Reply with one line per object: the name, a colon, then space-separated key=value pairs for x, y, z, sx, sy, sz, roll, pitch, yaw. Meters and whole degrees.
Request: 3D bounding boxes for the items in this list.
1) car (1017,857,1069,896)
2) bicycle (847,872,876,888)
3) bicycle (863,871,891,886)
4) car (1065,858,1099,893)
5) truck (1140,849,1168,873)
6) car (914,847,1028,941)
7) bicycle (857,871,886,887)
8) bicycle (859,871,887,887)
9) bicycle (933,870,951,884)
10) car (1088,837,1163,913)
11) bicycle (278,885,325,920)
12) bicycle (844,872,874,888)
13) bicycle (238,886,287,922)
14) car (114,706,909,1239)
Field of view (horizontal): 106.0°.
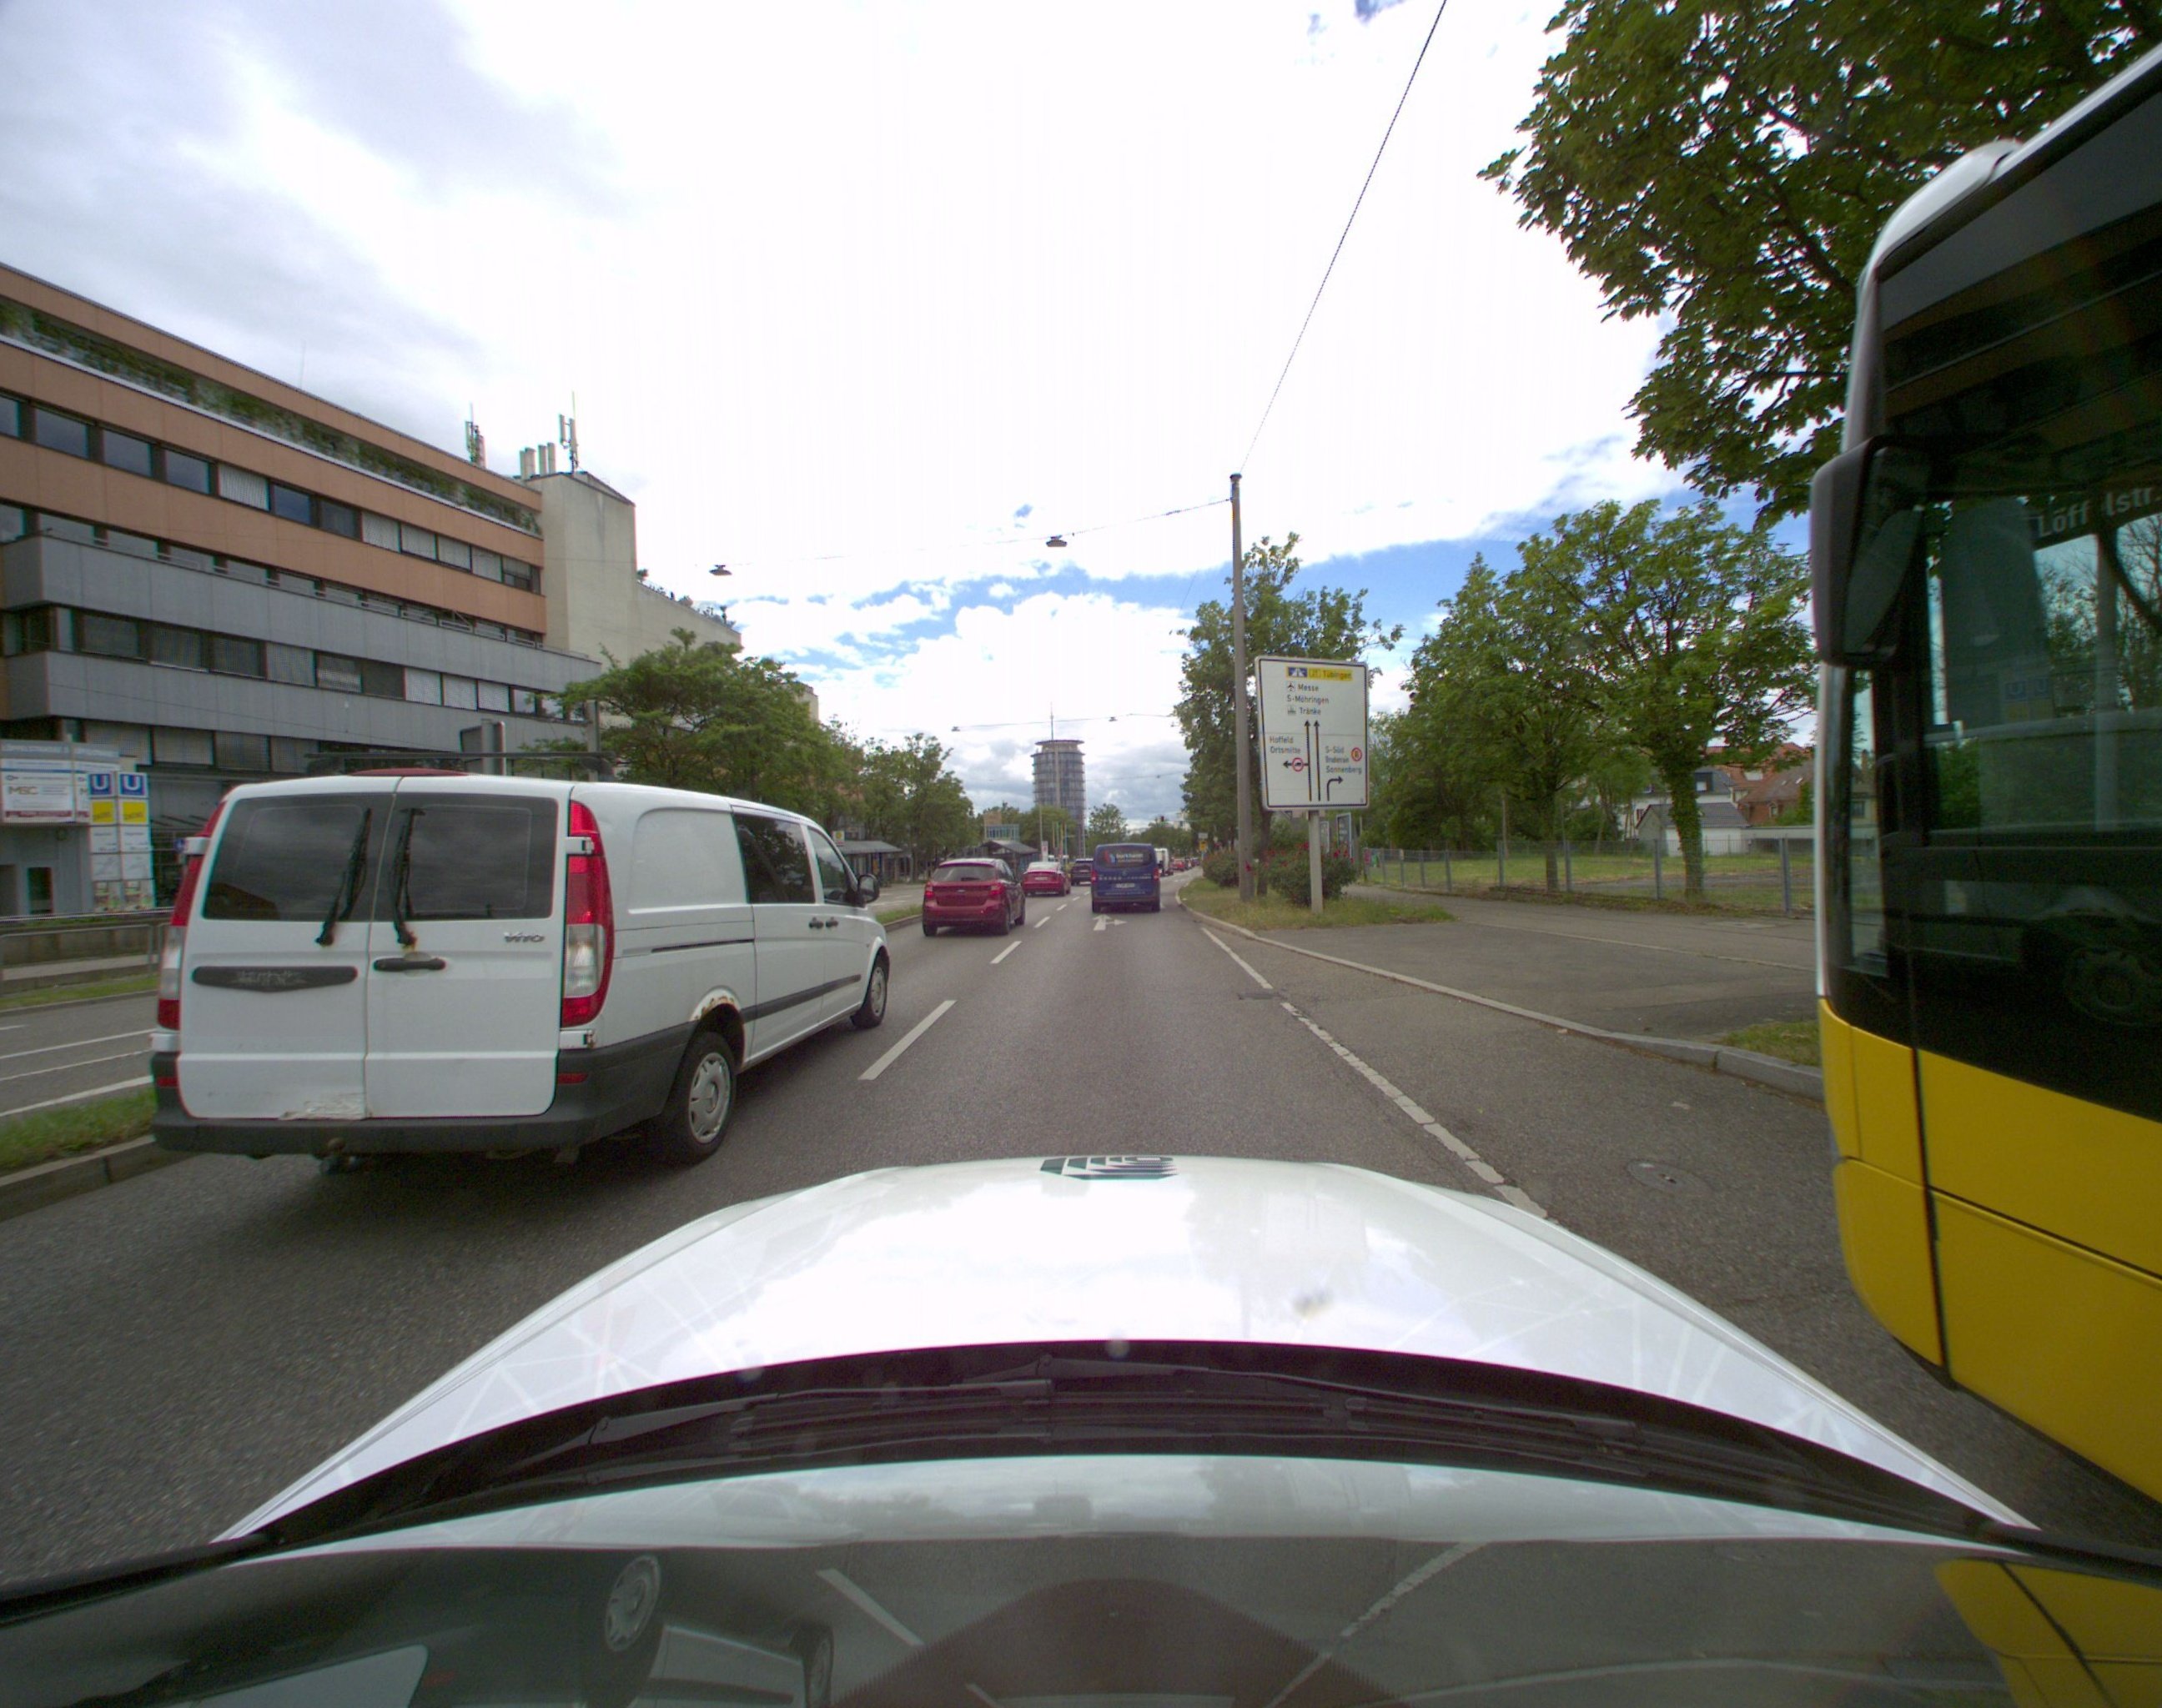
car: x=-1.551 y=0.965 z=34.787 sx=1.862 sy=1.486 sz=4.001 roll=-2 pitch=-2 yaw=1
bicycle: x=-16.683 y=1.984 z=61.948 sx=2.062 sy=1.153 sz=0.710 roll=0 pitch=-1 yaw=-6
bicycle: x=-16.379 y=1.950 z=65.305 sx=2.062 sy=1.153 sz=0.710 roll=2 pitch=-1 yaw=-6
car: x=0.104 y=1.286 z=50.365 sx=1.986 sy=2.013 sz=4.002 roll=-1 pitch=0 yaw=2
truck: x=6.684 y=0.640 z=74.199 sx=1.981 sy=2.166 sz=5.575 roll=0 pitch=0 yaw=11
car: x=-2.208 y=0.784 z=17.339 sx=1.740 sy=1.723 sz=4.001 roll=-2 pitch=-1 yaw=1
bicycle: x=-16.153 y=1.940 z=62.921 sx=2.062 sy=1.153 sz=0.710 roll=-1 pitch=-1 yaw=-6
bicycle: x=-16.430 y=1.992 z=64.332 sx=2.062 sy=1.153 sz=0.710 roll=-2 pitch=-1 yaw=-6
bicycle: x=-12.905 y=2.105 z=75.672 sx=1.046 sy=1.271 sz=2.429 roll=0 pitch=0 yaw=6
car: x=1.238 y=0.587 z=23.621 sx=1.940 sy=1.965 sz=4.543 roll=-1 pitch=-1 yaw=2
bicycle: x=-30.696 y=1.899 z=32.068 sx=1.949 sy=1.319 sz=0.710 roll=-2 pitch=-1 yaw=26
bicycle: x=-16.576 y=1.943 z=60.796 sx=2.062 sy=1.153 sz=0.710 roll=1 pitch=-1 yaw=-6
bicycle: x=-31.398 y=1.912 z=31.224 sx=1.949 sy=1.319 sz=0.710 roll=-2 pitch=-1 yaw=26
car: x=-2.720 y=0.447 z=5.666 sx=1.867 sy=2.013 sz=5.076 roll=1 pitch=0 yaw=1
